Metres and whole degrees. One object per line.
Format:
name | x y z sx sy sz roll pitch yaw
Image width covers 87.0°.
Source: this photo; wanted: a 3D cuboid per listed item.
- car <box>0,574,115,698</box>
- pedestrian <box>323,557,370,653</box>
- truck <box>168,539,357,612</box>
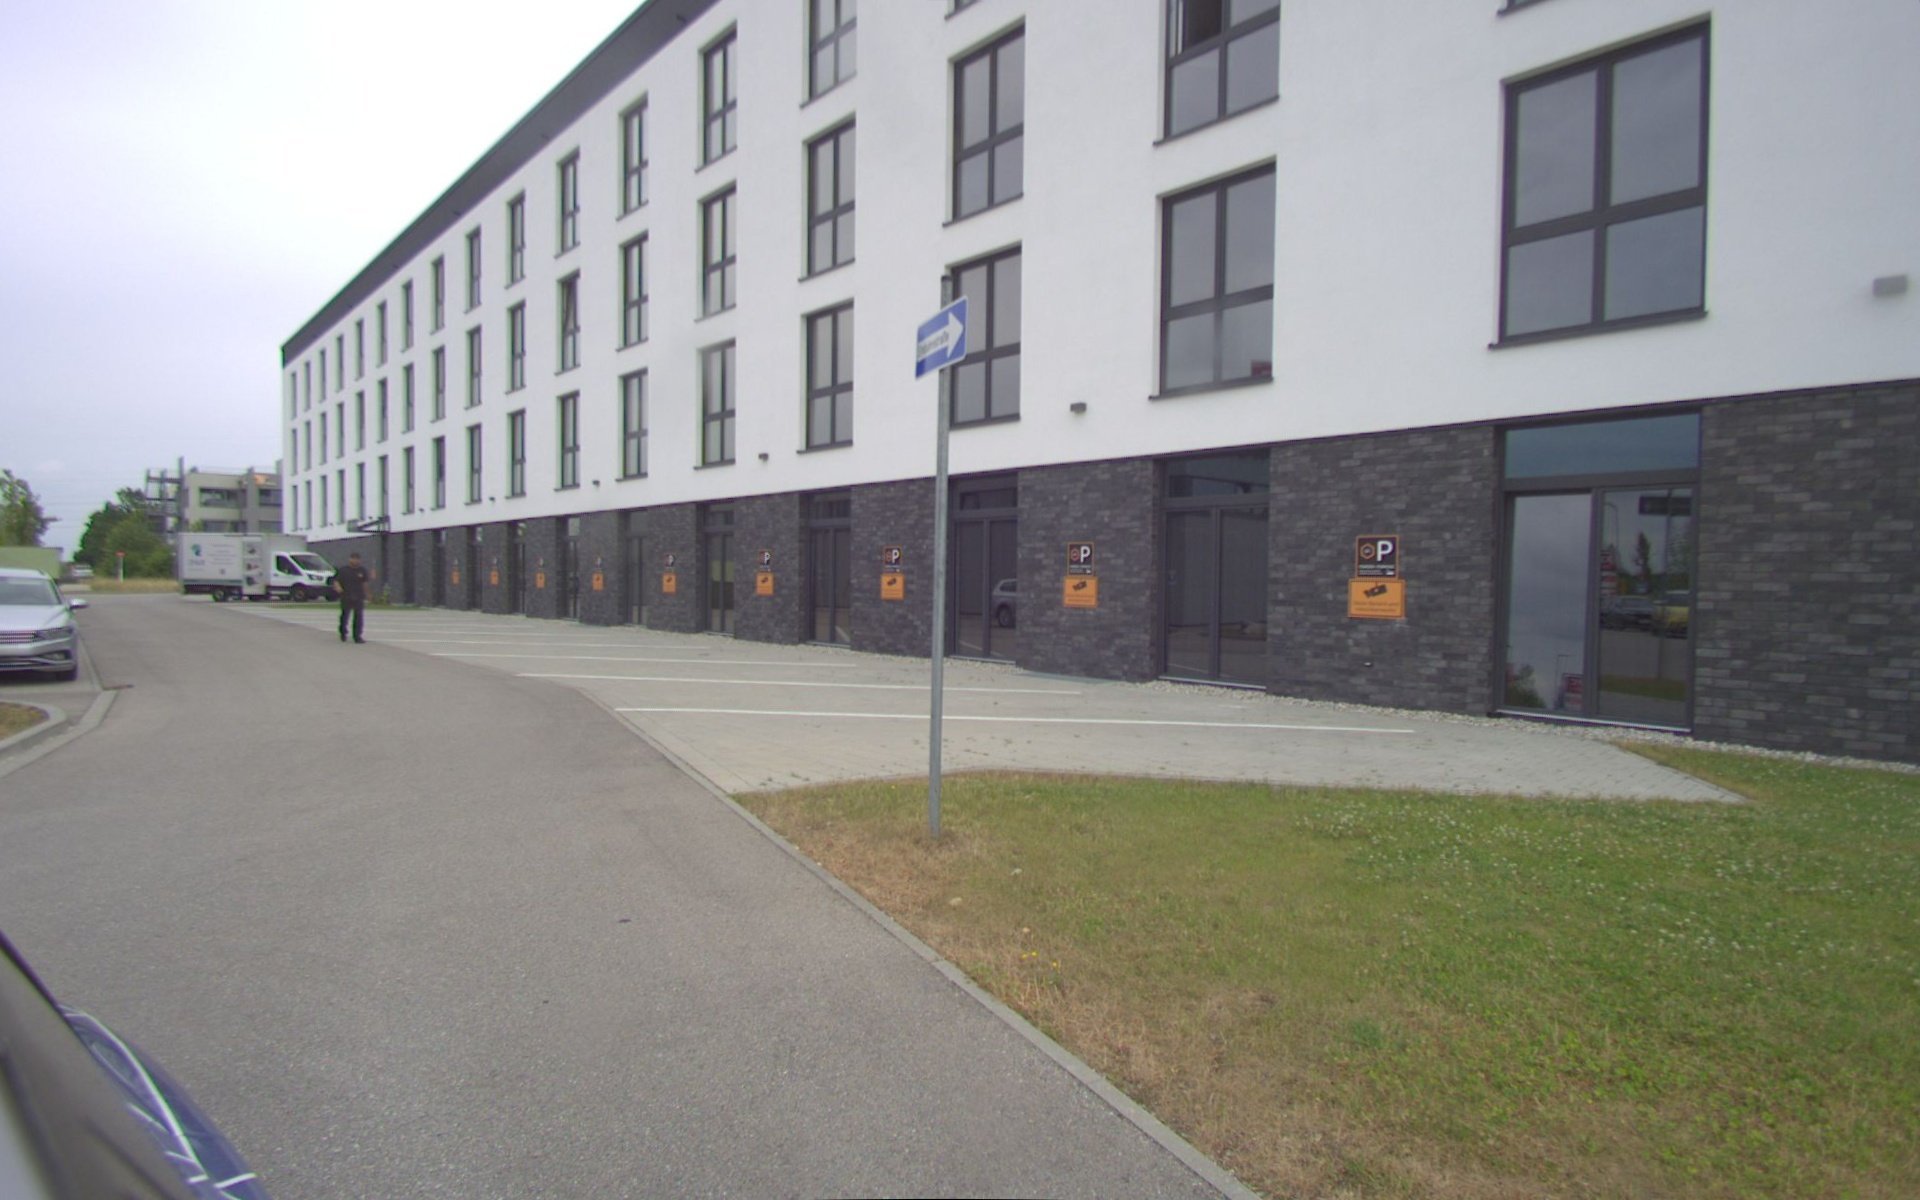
car | -13.484 0.404 14.301 1.948 1.503 4.783 1 1 -35
pedestrian | -12.065 0.077 19.891 0.698 1.836 0.815 -1 2 -36
truck | -30.239 -1.100 43.965 6.989 3.038 2.430 0 2 9
